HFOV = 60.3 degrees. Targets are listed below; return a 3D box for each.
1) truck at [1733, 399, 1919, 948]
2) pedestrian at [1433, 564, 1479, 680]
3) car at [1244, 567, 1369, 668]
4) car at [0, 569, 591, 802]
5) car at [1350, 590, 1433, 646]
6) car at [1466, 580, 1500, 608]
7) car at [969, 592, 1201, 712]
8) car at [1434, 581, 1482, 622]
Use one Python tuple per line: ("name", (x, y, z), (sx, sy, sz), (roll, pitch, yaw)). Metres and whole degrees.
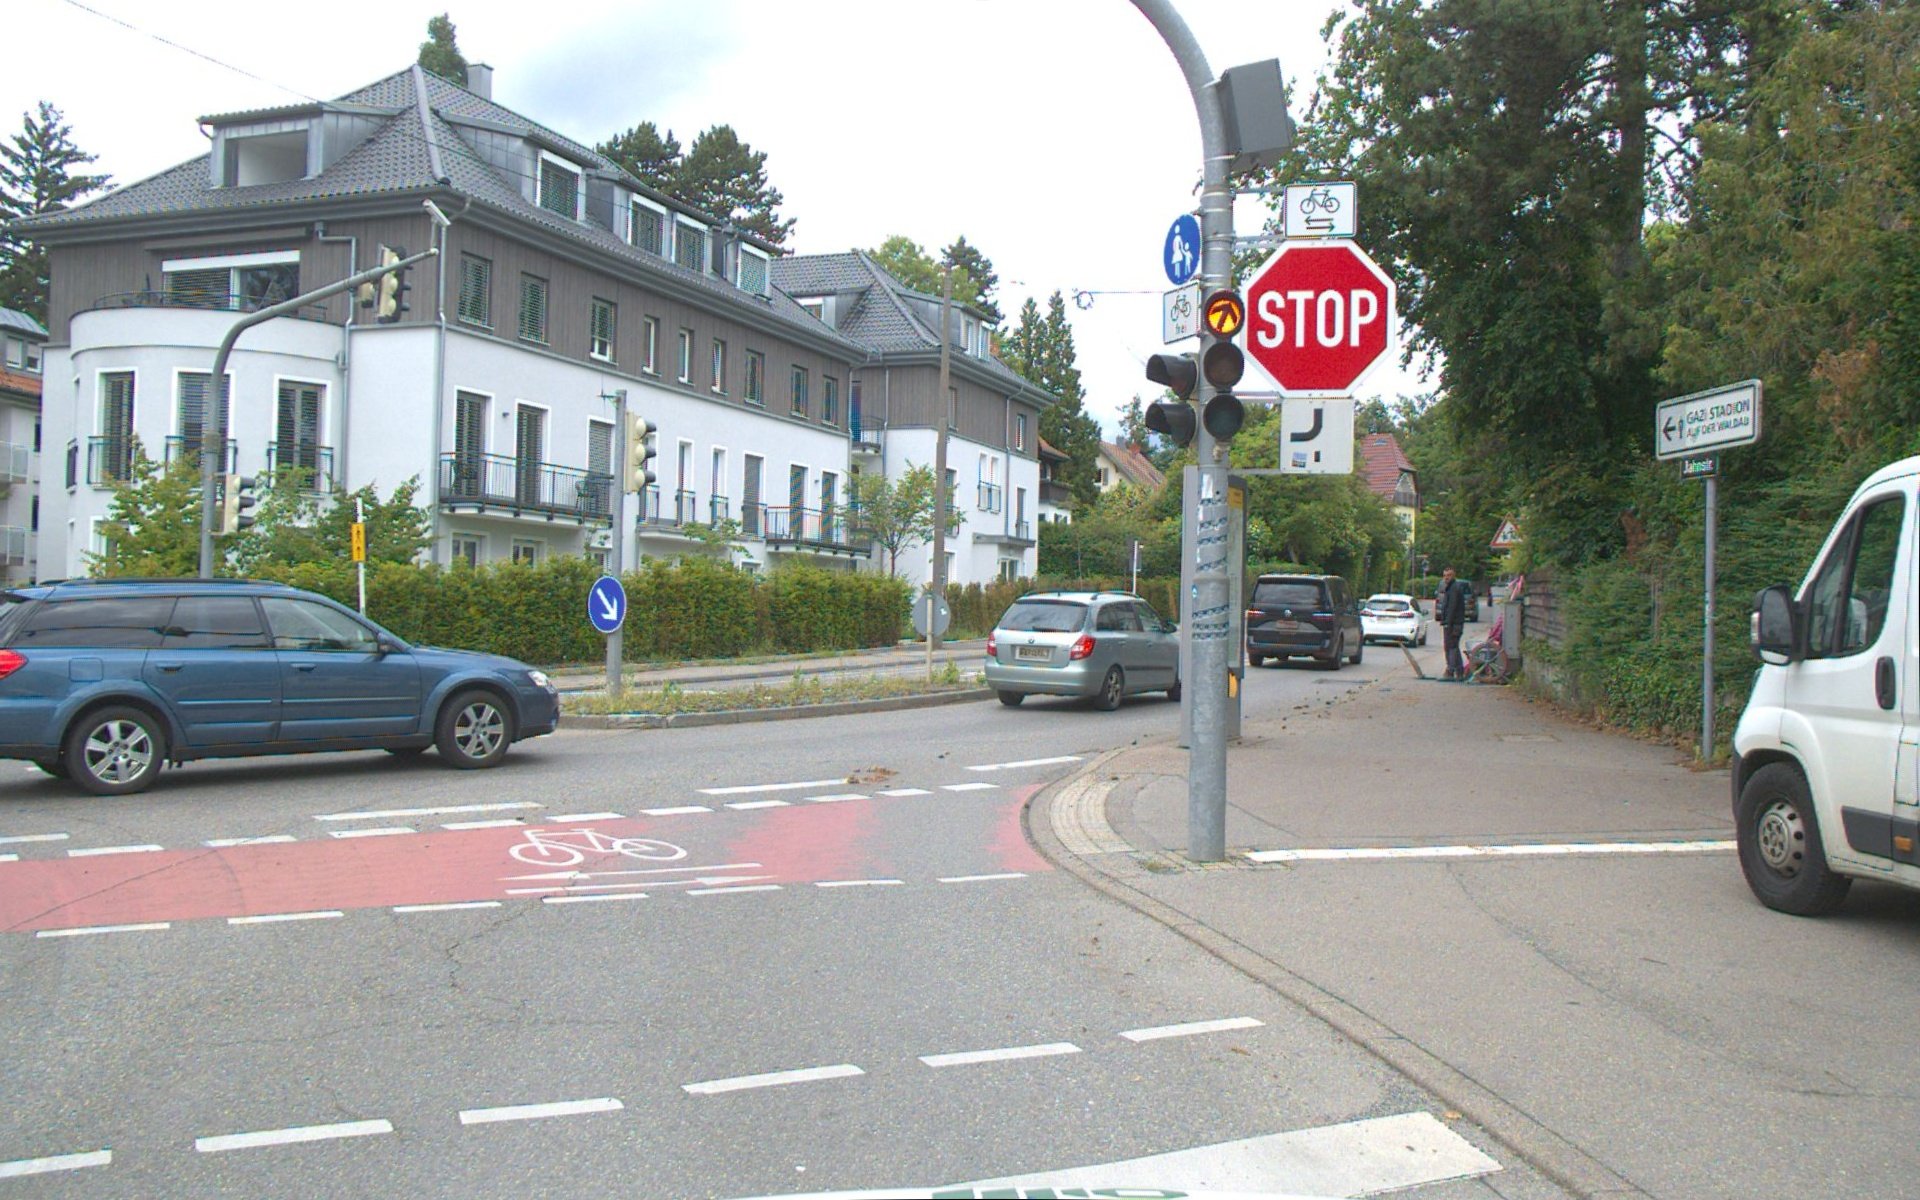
("truck", (5.063, 0.320, 5.698), (2.162, 2.283, 5.723), (1, 0, 1))
("pedestrian", (8.399, 0.372, 28.015), (0.584, 1.940, 0.558), (1, 0, -1))
("car", (7.478, 0.329, 35.325), (1.879, 1.927, 4.909), (2, 1, 20))
("car", (-5.430, 0.554, 12.948), (4.696, 1.553, 1.780), (-1, 0, -39))
("car", (12.676, 0.501, 48.389), (1.804, 1.485, 4.077), (2, 1, 22))
("car", (35.760, -0.411, 113.093), (1.899, 1.857, 4.078), (2, 1, 21))
("car", (1.765, 0.628, 22.198), (1.662, 1.455, 3.741), (0, 0, 30))
("car", (24.028, 0.037, 79.742), (1.899, 1.857, 4.078), (2, 1, 21))
